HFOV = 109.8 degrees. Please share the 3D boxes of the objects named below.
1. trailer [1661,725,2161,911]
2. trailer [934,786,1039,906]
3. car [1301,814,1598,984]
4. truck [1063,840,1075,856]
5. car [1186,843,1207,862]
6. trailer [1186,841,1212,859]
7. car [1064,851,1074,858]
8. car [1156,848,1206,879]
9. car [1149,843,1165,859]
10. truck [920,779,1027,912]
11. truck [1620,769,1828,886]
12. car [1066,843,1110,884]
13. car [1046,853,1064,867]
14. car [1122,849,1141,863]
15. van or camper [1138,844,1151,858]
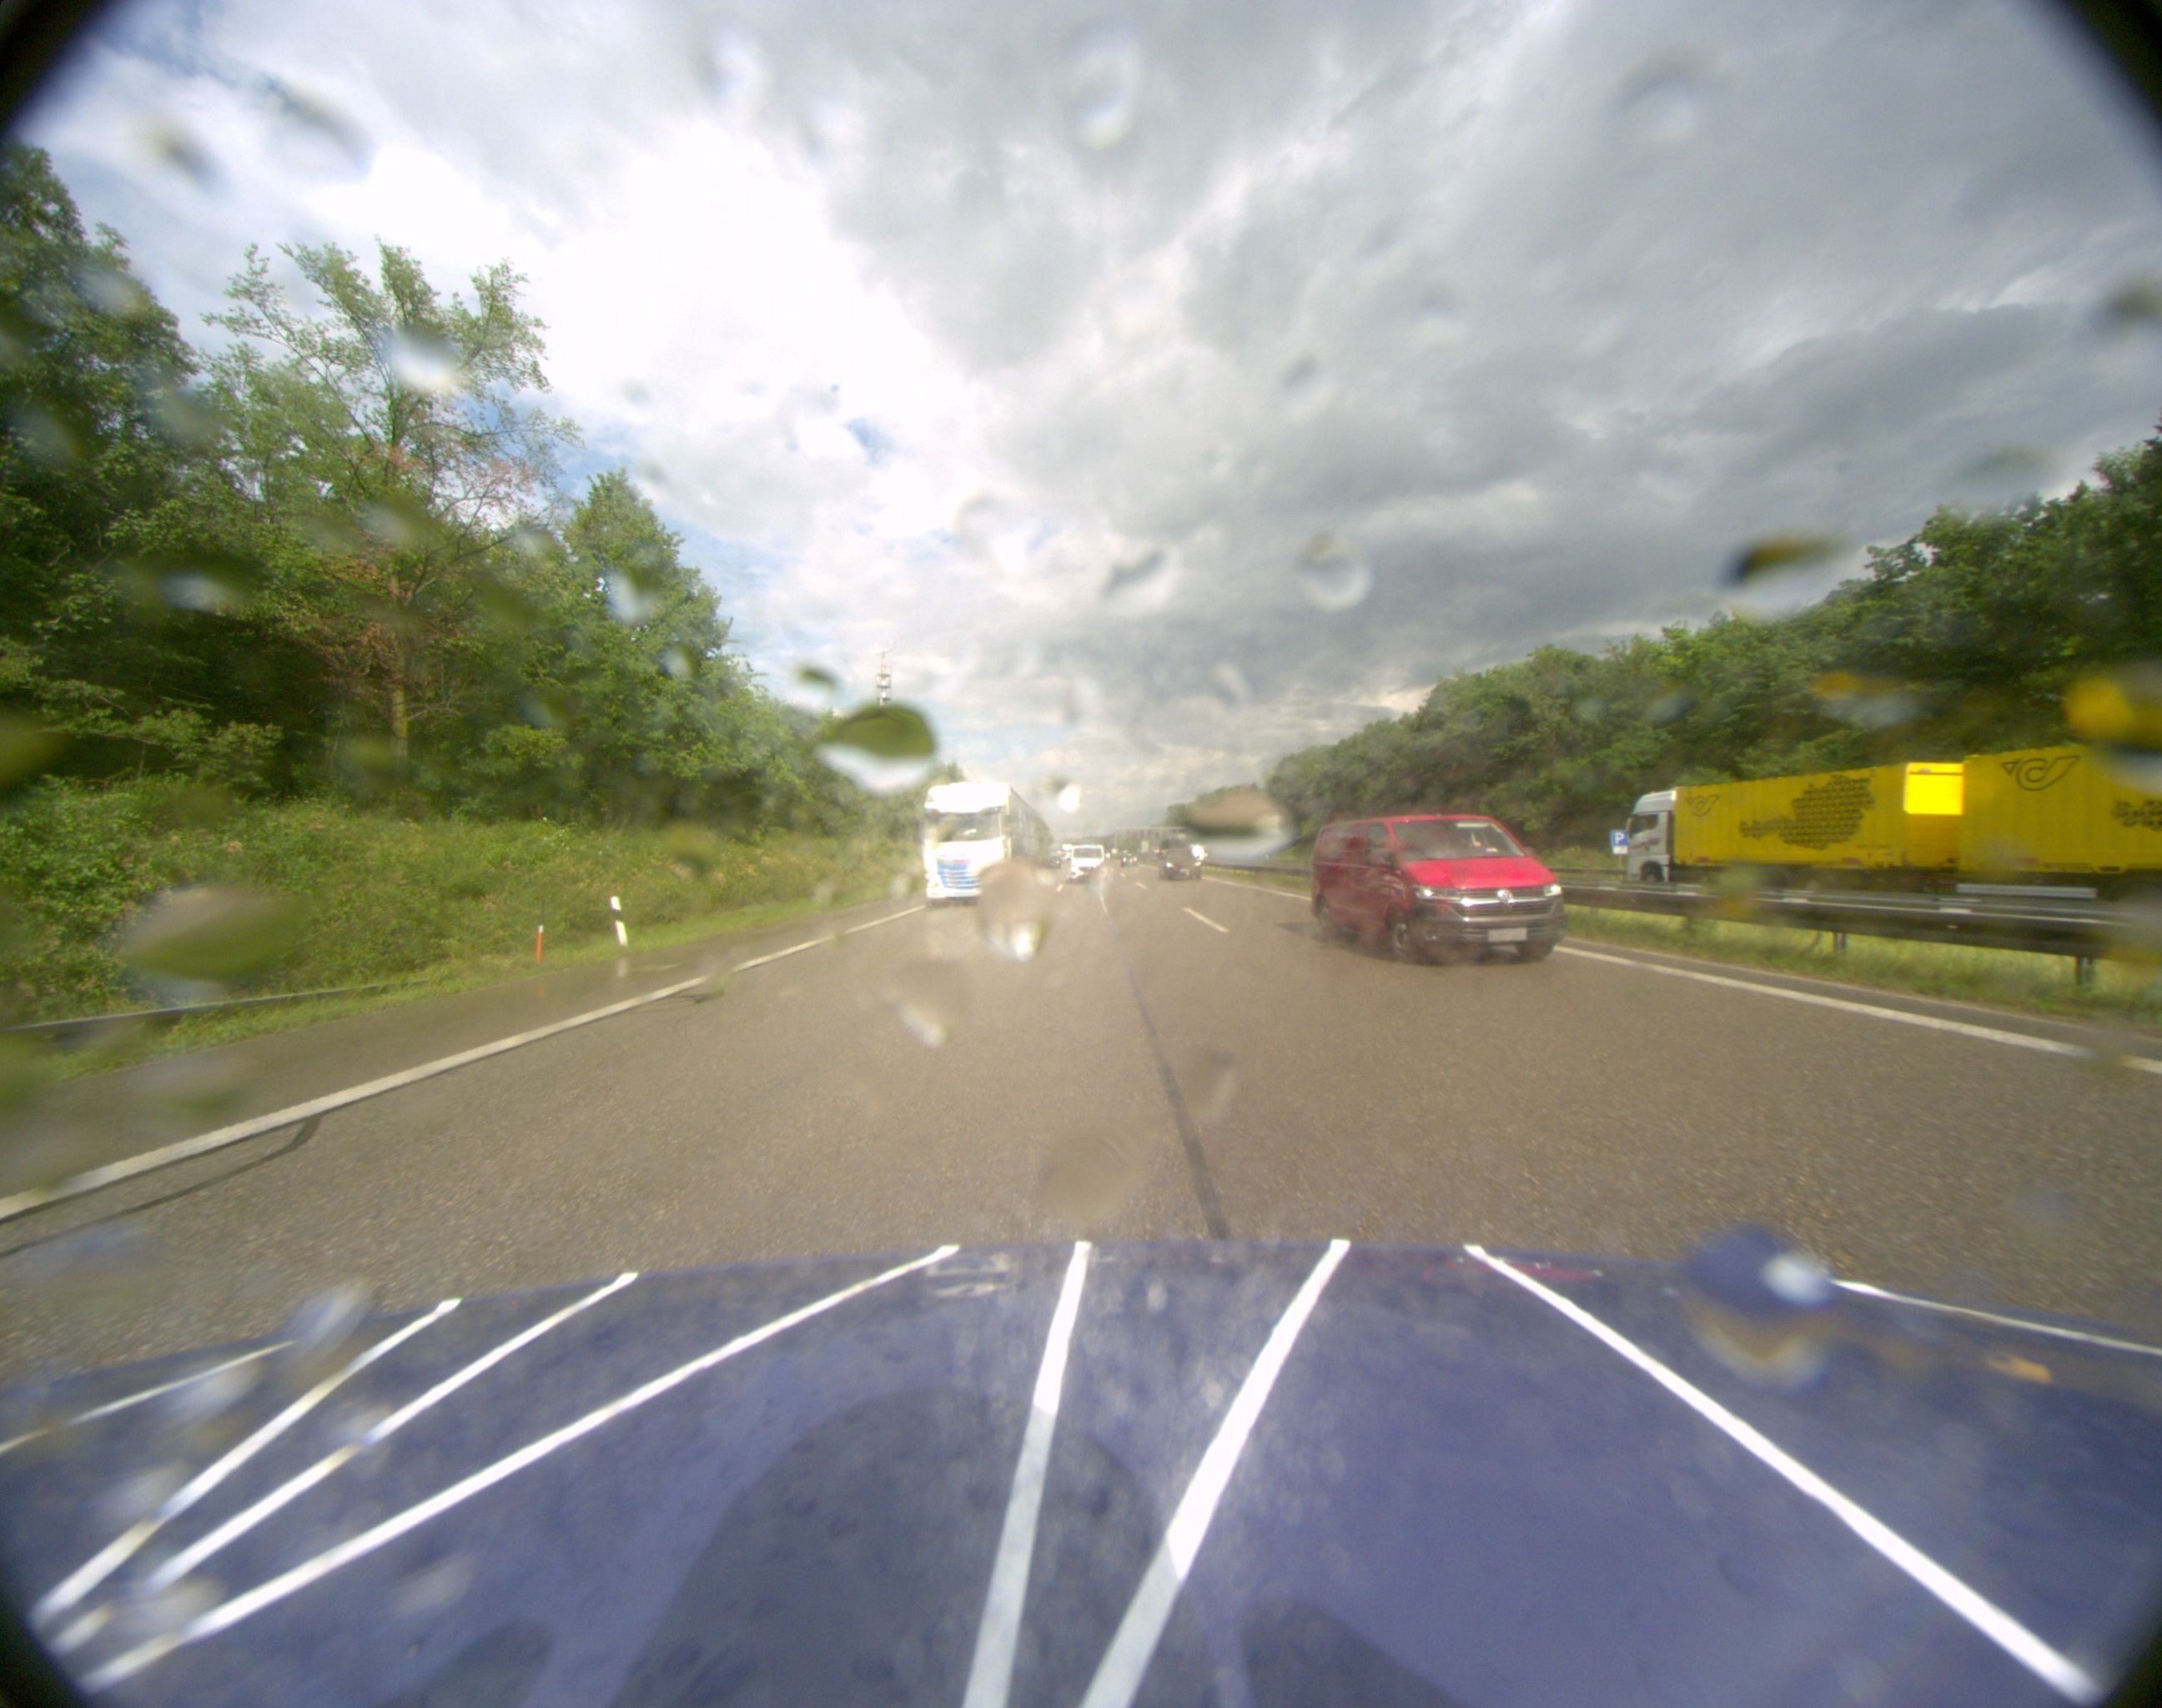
[{"bbox_3d":[22.407,-0.794,19.096,2.729,3.623,16.674,-2,1,0],"label":"trailer"},{"bbox_3d":[-3.571,-0.330,32.704,2.641,3.972,14.062,-2,1,0],"label":"trailer"},{"bbox_3d":[4.888,0.490,11.045,1.927,1.855,4.838,-2,1,0],"label":"car"},{"bbox_3d":[-3.026,-1.538,193.368,3.064,3.827,8.798,-1,0,-1],"label":"truck"},{"bbox_3d":[18.499,-0.251,122.386,2.268,2.853,6.788,-2,1,0],"label":"car"},{"bbox_3d":[26.038,-0.925,168.425,2.998,3.809,17.950,-3,1,1],"label":"trailer"},{"bbox_3d":[-2.334,0.103,149.096,1.799,1.410,4.838,-2,1,0],"label":"car"},{"bbox_3d":[5.296,0.478,40.948,2.009,1.488,4.838,-2,1,0],"label":"car"},{"bbox_3d":[14.256,-0.512,142.314,2.268,2.853,6.889,-2,1,0],"label":"car"},{"bbox_3d":[-3.572,-0.295,26.999,2.613,3.973,7.289,-2,1,0],"label":"truck"},{"bbox_3d":[22.391,-0.868,26.877,2.729,3.643,5.330,-2,1,0],"label":"truck"},{"bbox_3d":[0.370,0.458,41.586,2.124,1.988,5.982,-2,1,0],"label":"car"},{"bbox_3d":[-2.918,0.683,86.161,1.799,1.410,4.838,-2,1,0],"label":"car"},{"bbox_3d":[5.504,0.224,83.115,1.799,1.410,4.838,-2,1,0],"label":"car"},{"bbox_3d":[14.633,-0.711,174.470,2.268,2.853,6.838,-2,1,0],"label":"van or camper"}]
